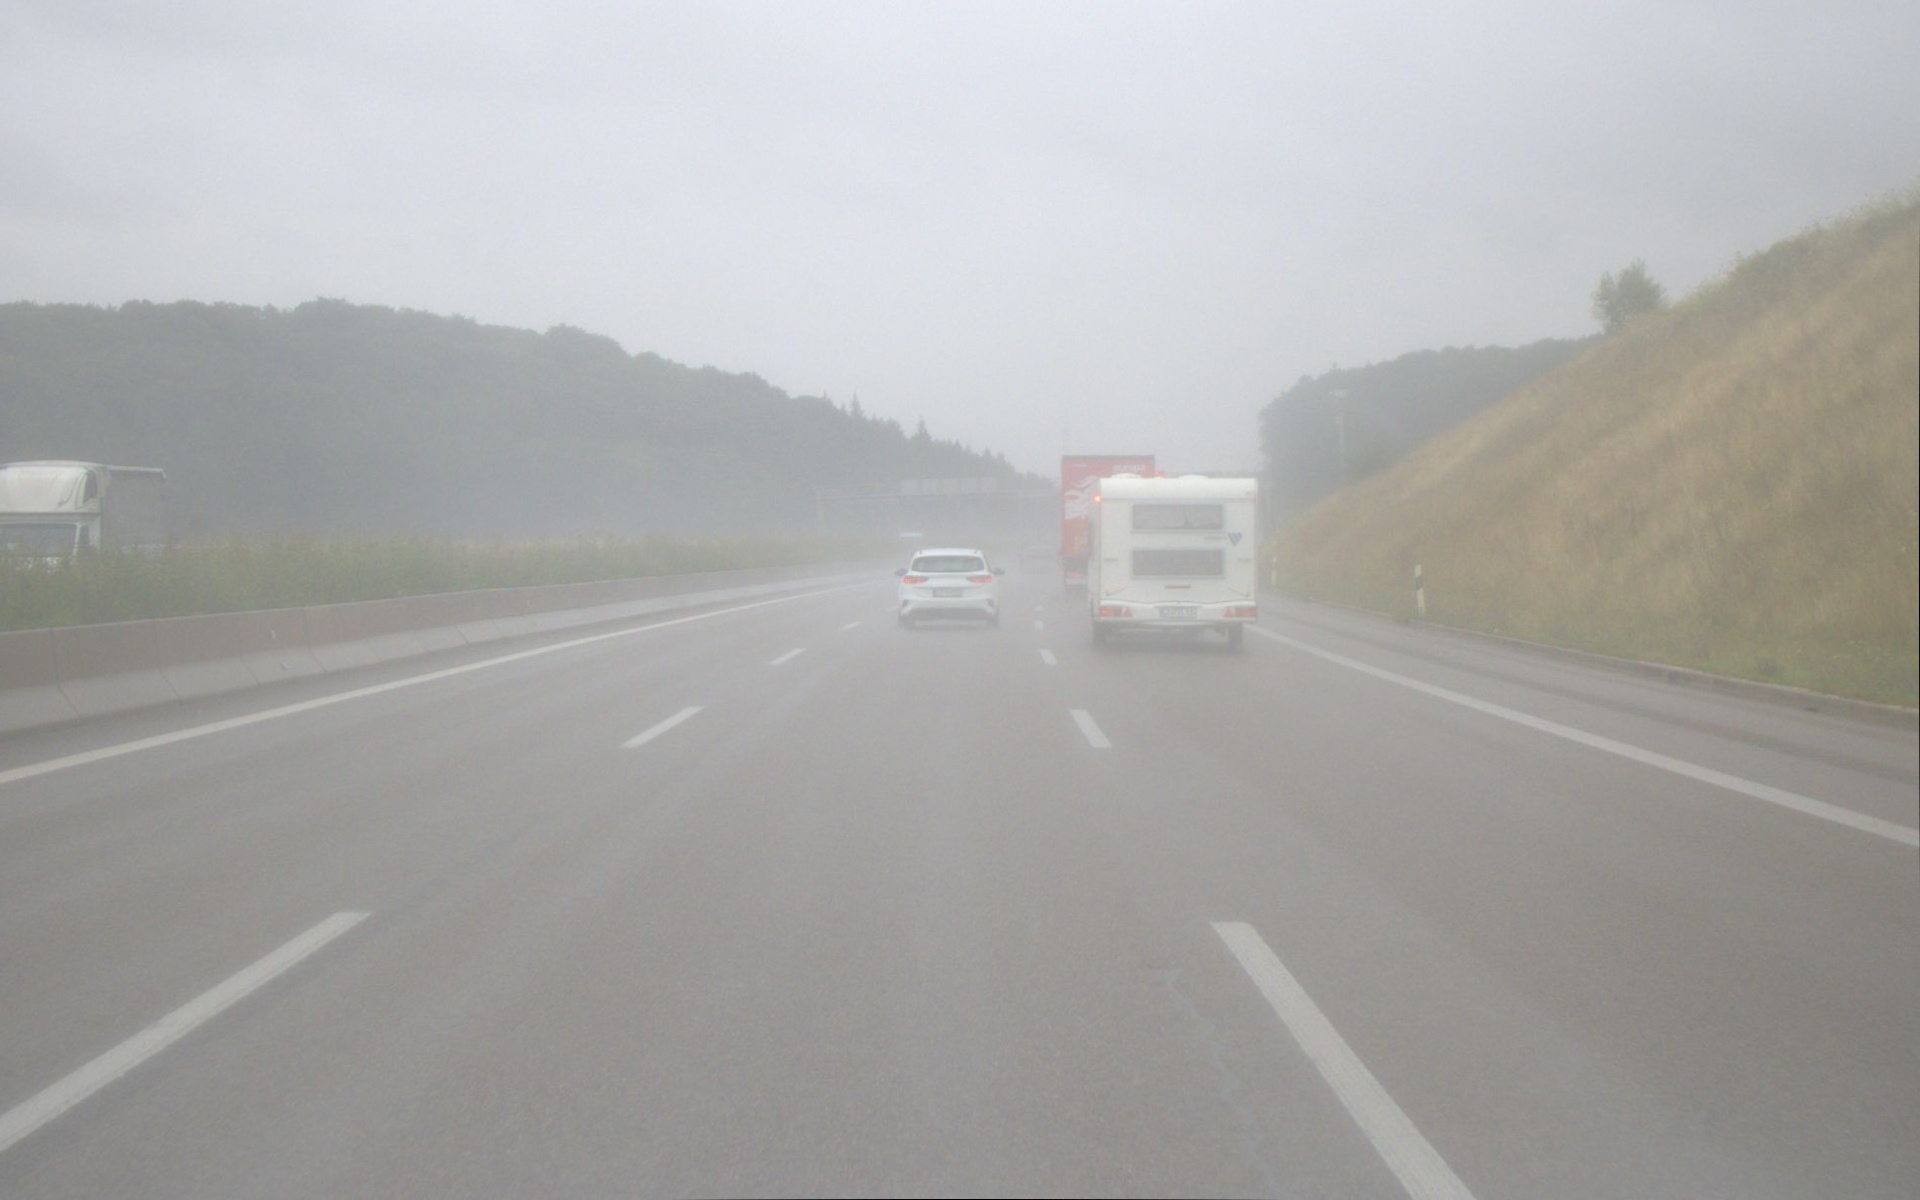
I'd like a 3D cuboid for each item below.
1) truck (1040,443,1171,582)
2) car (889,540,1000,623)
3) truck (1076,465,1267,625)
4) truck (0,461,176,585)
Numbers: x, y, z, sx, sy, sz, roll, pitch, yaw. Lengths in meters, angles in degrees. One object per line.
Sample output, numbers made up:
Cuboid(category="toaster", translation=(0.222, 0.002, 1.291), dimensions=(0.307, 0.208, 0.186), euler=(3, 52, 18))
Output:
Cuboid(category="truck", translation=(4.202, -2.539, 99.381), dimensions=(3.527, 3.730, 11.425), euler=(1, 2, 2))
Cuboid(category="car", translation=(-0.307, -0.330, 62.385), dimensions=(1.867, 1.458, 4.000), euler=(0, 0, -2))
Cuboid(category="truck", translation=(3.050, -0.809, 50.574), dimensions=(2.407, 2.244, 4.693), euler=(0, 1, -1))
Cuboid(category="truck", translation=(-18.598, -1.577, 73.451), dimensions=(2.173, 2.439, 6.793), euler=(0, 0, -1))
